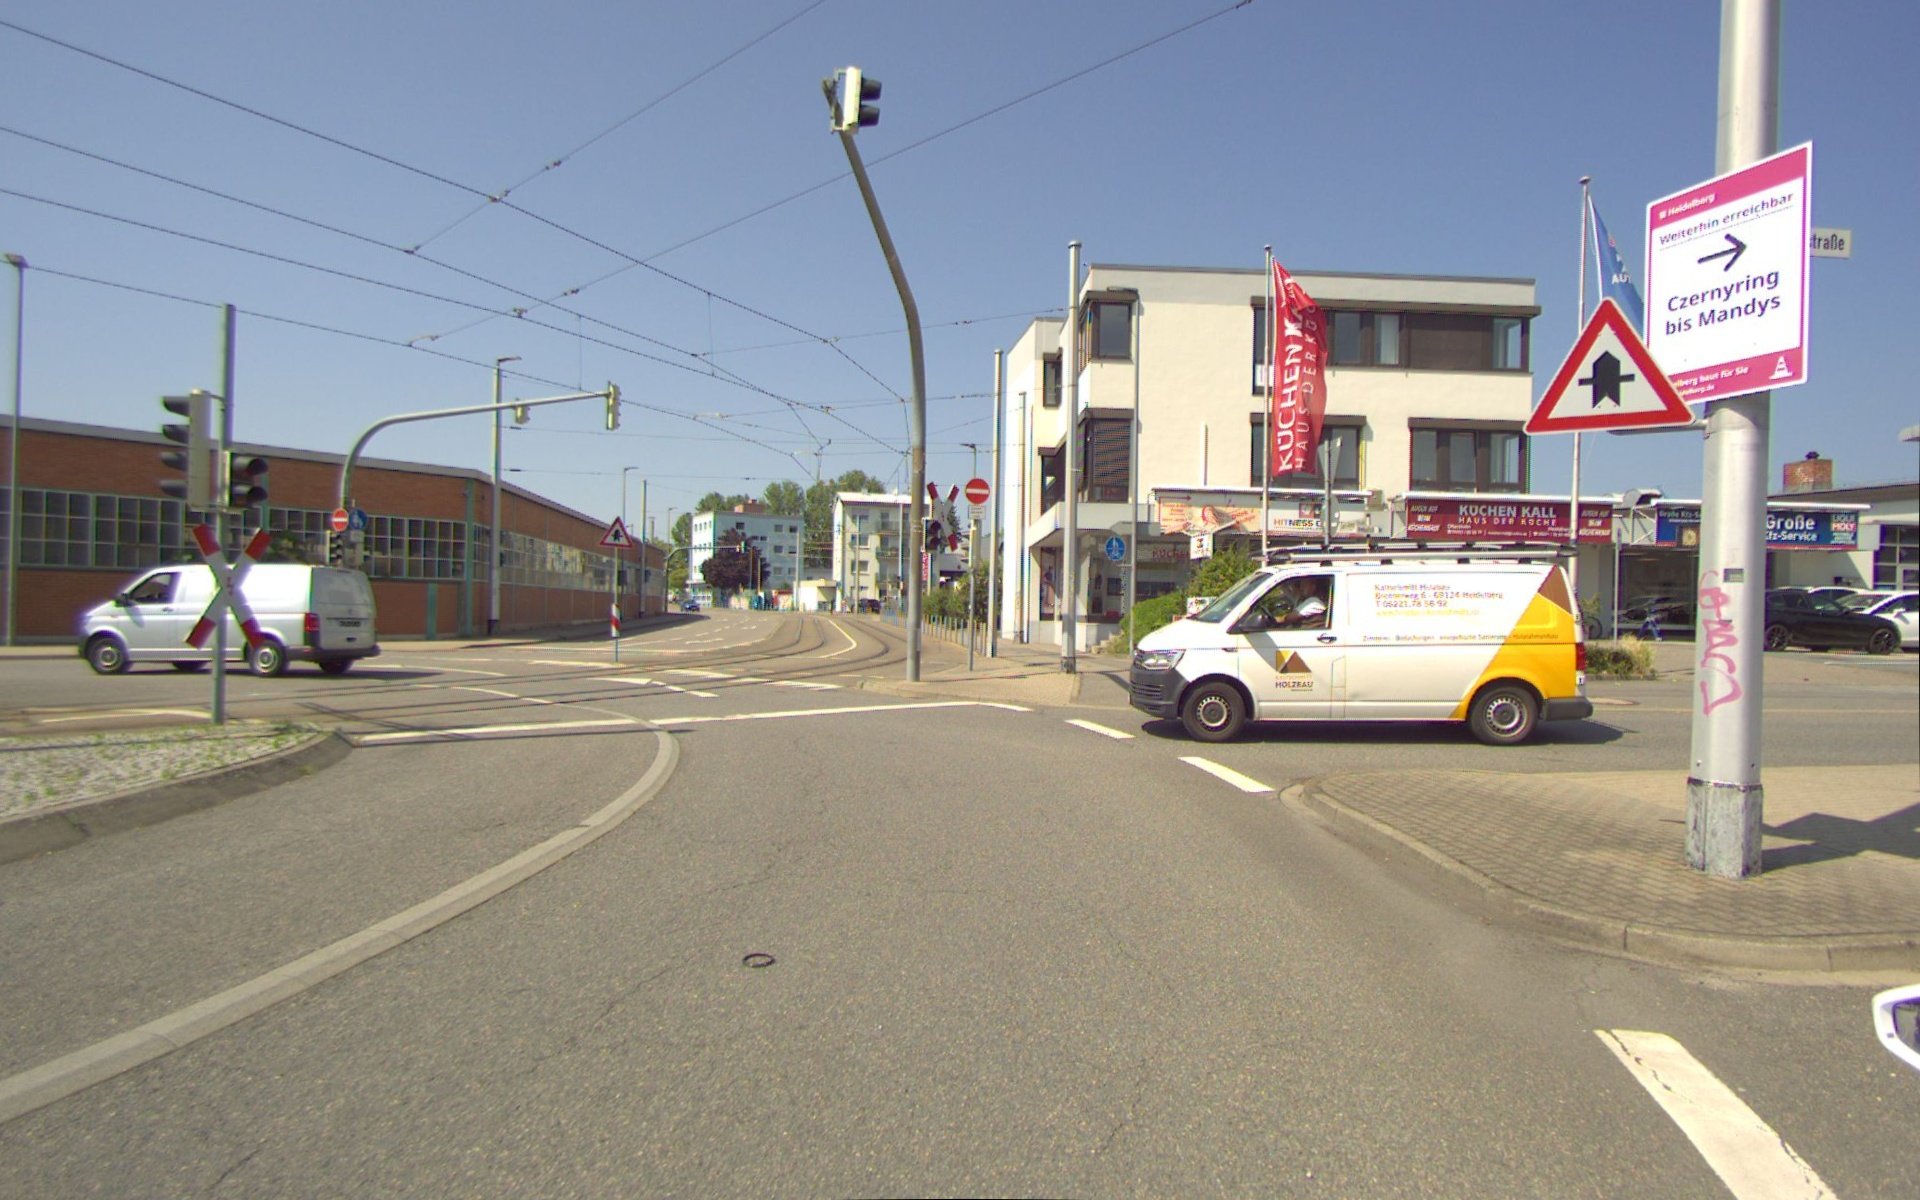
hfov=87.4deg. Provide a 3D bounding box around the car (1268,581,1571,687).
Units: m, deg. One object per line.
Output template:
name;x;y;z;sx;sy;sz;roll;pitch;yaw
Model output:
car;9.048;0.658;20.082;5.177;1.992;1.966;0;0;-1

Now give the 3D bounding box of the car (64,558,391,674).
car;-13.218;0.294;18.277;4.731;1.961;1.934;0;-1;6

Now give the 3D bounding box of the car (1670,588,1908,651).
car;19.808;0.466;24.112;4.235;1.446;2.031;0;0;-5

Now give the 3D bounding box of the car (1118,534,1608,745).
car;4.296;0.398;11.483;4.834;2.143;2.029;0;1;6

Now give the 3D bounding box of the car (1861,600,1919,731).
car;12.905;0.724;11.205;4.061;1.483;1.847;0;-1;0

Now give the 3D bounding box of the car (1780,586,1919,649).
car;25.048;0.491;26.682;4.829;1.609;1.888;0;-2;4

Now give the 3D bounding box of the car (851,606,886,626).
car;-9.711;1.708;106.239;1.981;2.040;3.959;1;-2;-37
